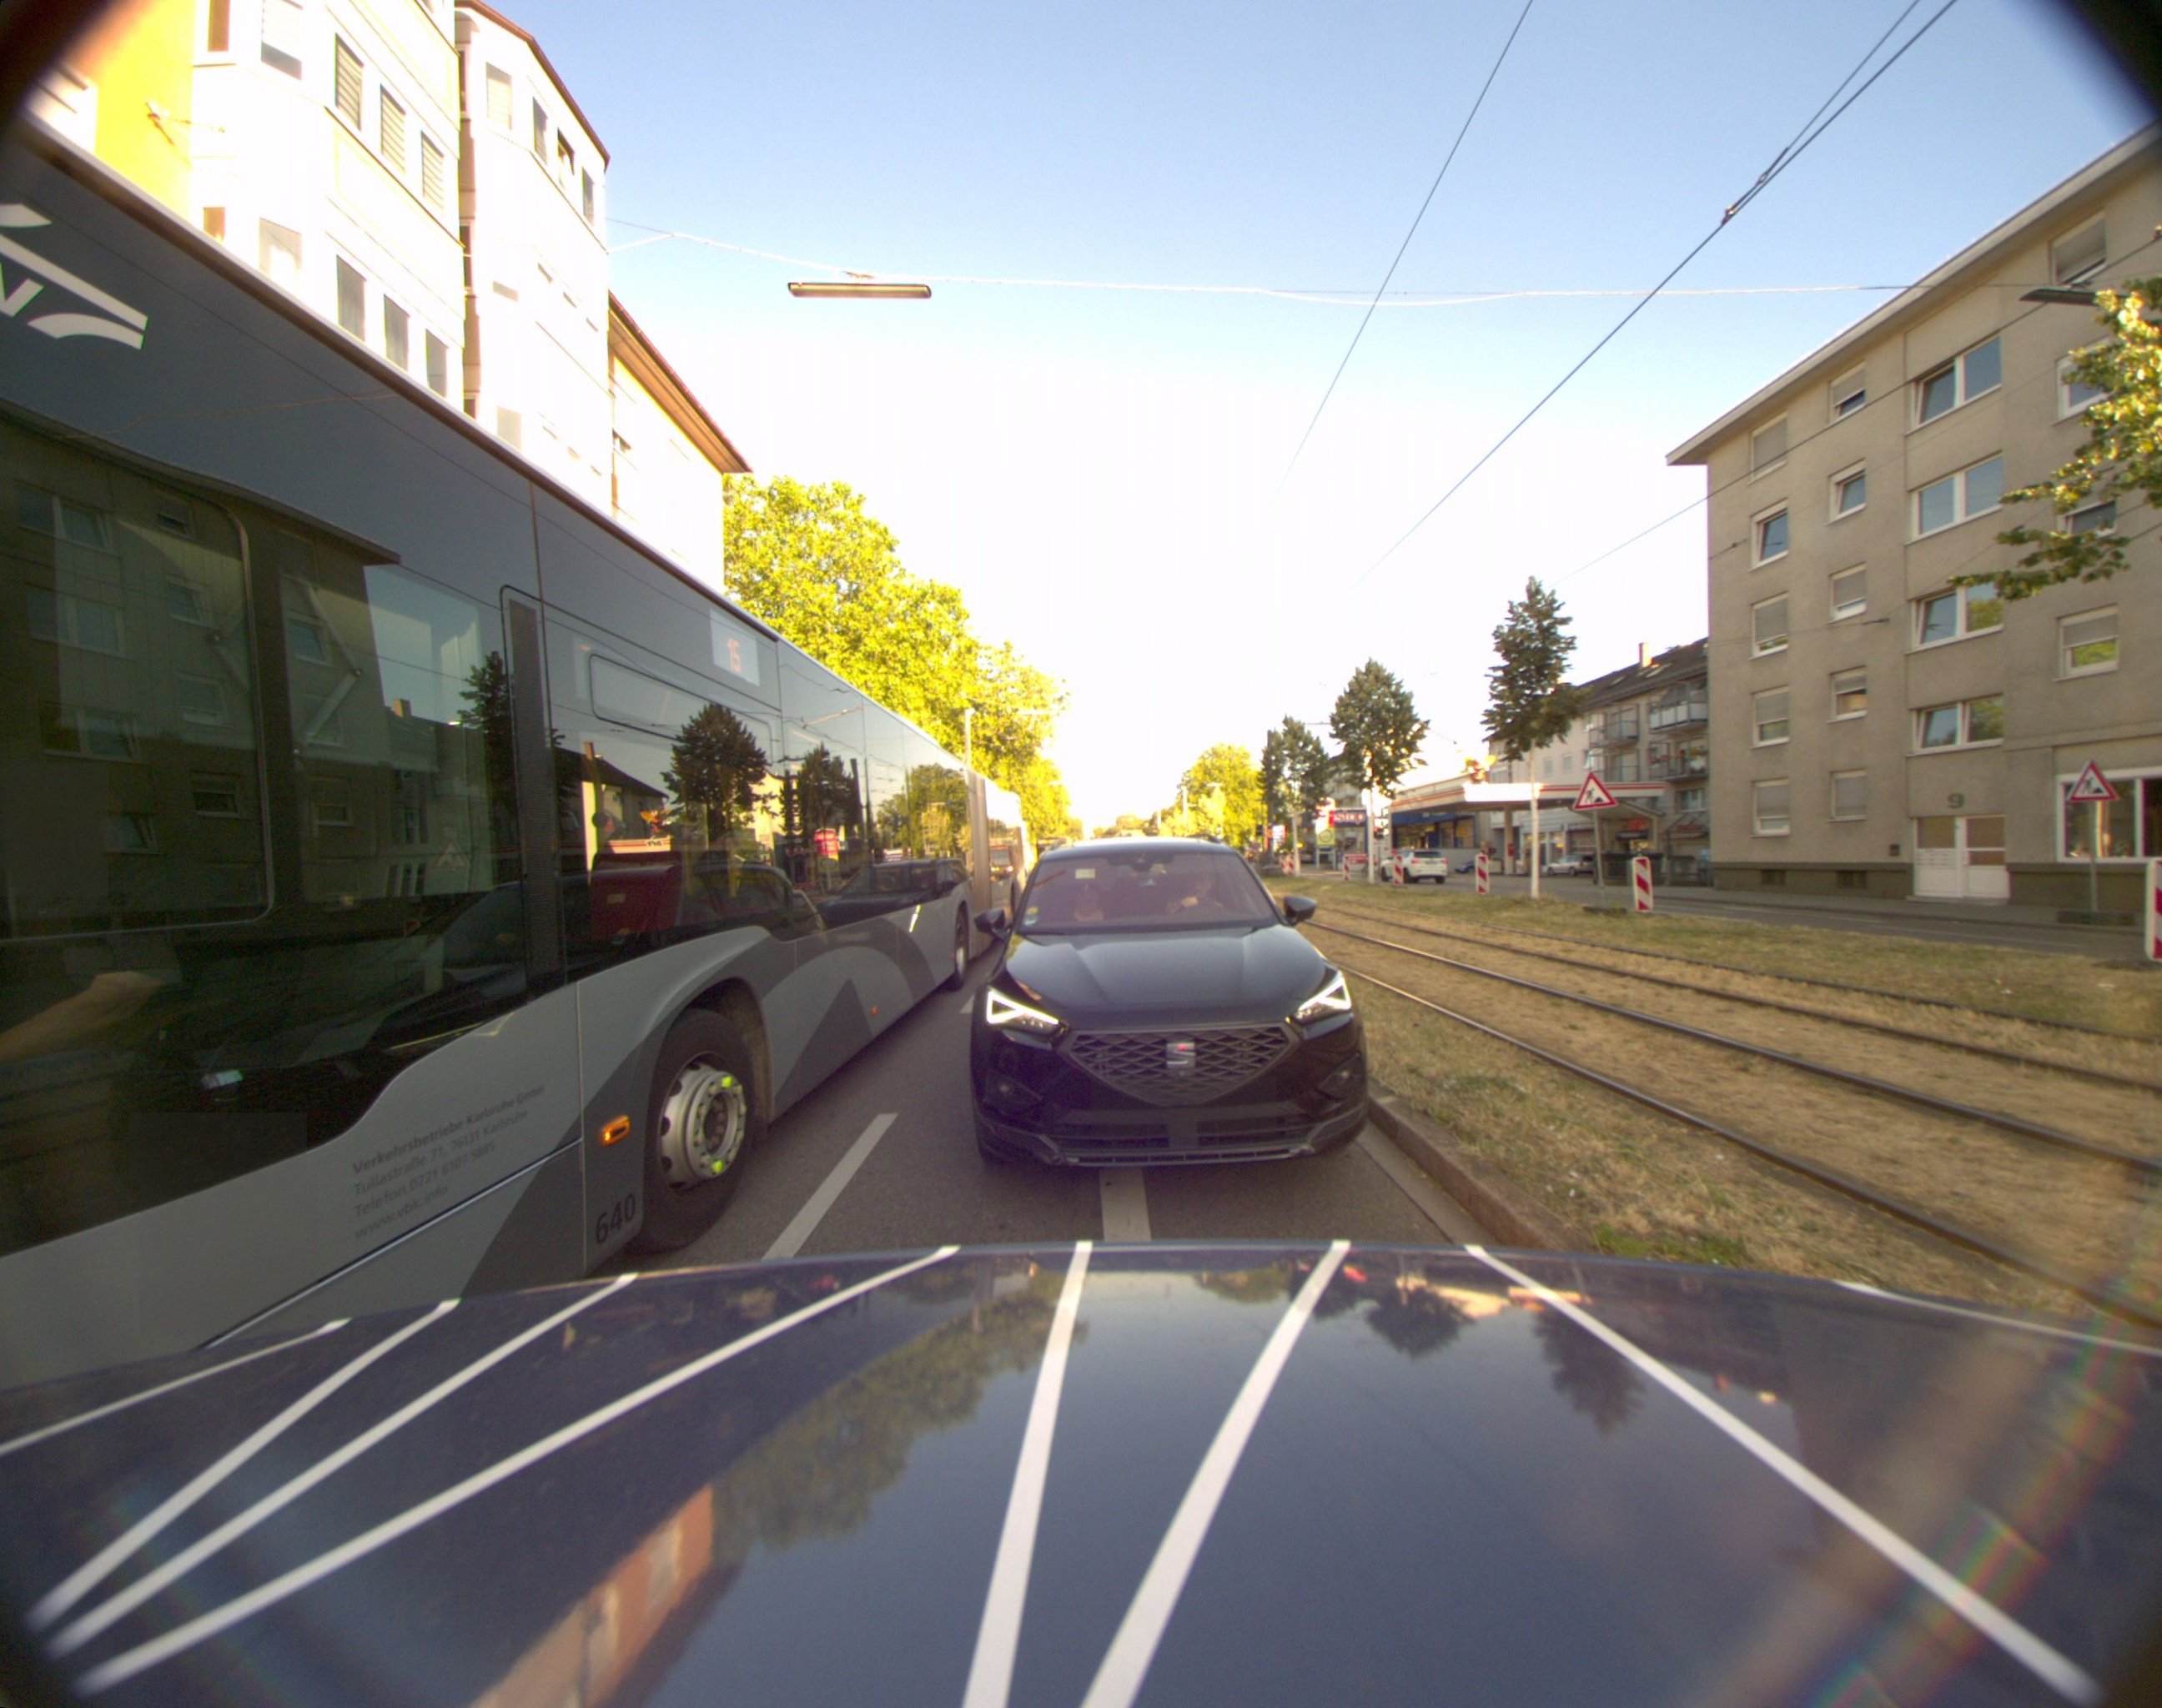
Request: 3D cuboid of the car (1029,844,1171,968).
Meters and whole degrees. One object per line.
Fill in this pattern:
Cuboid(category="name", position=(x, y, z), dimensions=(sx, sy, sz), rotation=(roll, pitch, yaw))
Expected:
Cuboid(category="car", position=(0.292, 0.728, 12.690), dimensions=(1.998, 1.739, 4.000), rotation=(0, 0, 1))

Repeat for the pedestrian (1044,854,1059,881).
Cuboid(category="pedestrian", position=(-1.793, 0.817, 45.785), dimensions=(0.700, 1.552, 0.508), rotation=(-3, 1, -35))

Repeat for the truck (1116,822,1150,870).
Cuboid(category="truck", position=(4.325, -0.689, 64.517), dimensions=(2.306, 3.798, 7.723), rotation=(-2, 1, 1))

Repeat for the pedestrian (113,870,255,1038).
Cuboid(category="pedestrian", position=(-8.877, 0.957, 7.546), dimensions=(0.580, 1.574, 0.668), rotation=(0, 1, 1))

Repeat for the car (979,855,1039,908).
Cuboid(category="car", position=(-2.470, 0.906, 26.812), dimensions=(1.750, 1.598, 3.823), rotation=(-2, 1, -1))

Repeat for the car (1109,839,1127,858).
Cuboid(category="car", position=(4.094, -0.576, 83.550), dimensions=(1.767, 2.002, 3.791), rotation=(-2, 1, 1))

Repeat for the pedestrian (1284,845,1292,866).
Cuboid(category="pedestrian", position=(20.267, 0.170, 74.482), dimensions=(0.632, 2.002, 0.583), rotation=(0, 1, 2))

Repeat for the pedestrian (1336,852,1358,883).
Cuboid(category="pedestrian", position=(10.923, 0.553, 31.207), dimensions=(0.664, 1.263, 0.581), rotation=(-2, 0, 1))

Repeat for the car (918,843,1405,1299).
Cuboid(category="car", position=(0.328, 0.808, 4.831), dimensions=(1.774, 1.667, 4.000), rotation=(-1, 0, 1))

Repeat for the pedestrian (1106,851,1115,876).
Cuboid(category="pedestrian", position=(2.411, 0.776, 61.737), dimensions=(0.625, 2.002, 0.695), rotation=(-2, 0, 0))

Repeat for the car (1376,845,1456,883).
Cuboid(category="car", position=(16.203, 0.443, 37.035), dimensions=(1.998, 1.725, 4.393), rotation=(-1, 1, 1))

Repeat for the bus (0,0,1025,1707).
Cuboid(category="bus", position=(-2.826, 0.162, 9.067), dimensions=(2.773, 3.131, 17.740), rotation=(-2, 0, 1))

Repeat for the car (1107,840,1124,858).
Cuboid(category="car", position=(4.003, -0.620, 87.872), dimensions=(1.767, 2.002, 3.791), rotation=(-2, 1, 1))

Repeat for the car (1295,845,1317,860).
Cuboid(category="car", position=(25.110, -0.199, 84.809), dimensions=(1.781, 1.547, 4.002), rotation=(-2, 1, 9))

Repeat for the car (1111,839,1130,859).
Cuboid(category="car", position=(4.074, -0.519, 78.517), dimensions=(1.767, 2.002, 3.791), rotation=(-2, 1, 1))

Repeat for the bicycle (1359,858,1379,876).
Cuboid(category="bicycle", position=(17.493, 0.788, 46.171), dimensions=(0.447, 1.038, 1.860), rotation=(0, 0, -2))

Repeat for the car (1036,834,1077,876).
Cuboid(category="car", position=(-1.709, 0.028, 55.705), dimensions=(2.681, 2.875, 5.452), rotation=(-2, 1, 0))

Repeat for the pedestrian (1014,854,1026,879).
Cuboid(category="pedestrian", position=(-3.690, 0.768, 45.967), dimensions=(0.618, 1.482, 0.438), rotation=(-2, 1, -13))

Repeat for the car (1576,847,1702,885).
Cuboid(category="car", position=(22.782, 0.510, 31.135), dimensions=(3.727, 1.460, 1.908), rotation=(0, -1, 0))

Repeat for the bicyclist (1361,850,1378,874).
Cuboid(category="bicyclist", position=(17.487, 0.490, 46.035), dimensions=(0.780, 1.438, 0.650), rotation=(0, 1, -2))
